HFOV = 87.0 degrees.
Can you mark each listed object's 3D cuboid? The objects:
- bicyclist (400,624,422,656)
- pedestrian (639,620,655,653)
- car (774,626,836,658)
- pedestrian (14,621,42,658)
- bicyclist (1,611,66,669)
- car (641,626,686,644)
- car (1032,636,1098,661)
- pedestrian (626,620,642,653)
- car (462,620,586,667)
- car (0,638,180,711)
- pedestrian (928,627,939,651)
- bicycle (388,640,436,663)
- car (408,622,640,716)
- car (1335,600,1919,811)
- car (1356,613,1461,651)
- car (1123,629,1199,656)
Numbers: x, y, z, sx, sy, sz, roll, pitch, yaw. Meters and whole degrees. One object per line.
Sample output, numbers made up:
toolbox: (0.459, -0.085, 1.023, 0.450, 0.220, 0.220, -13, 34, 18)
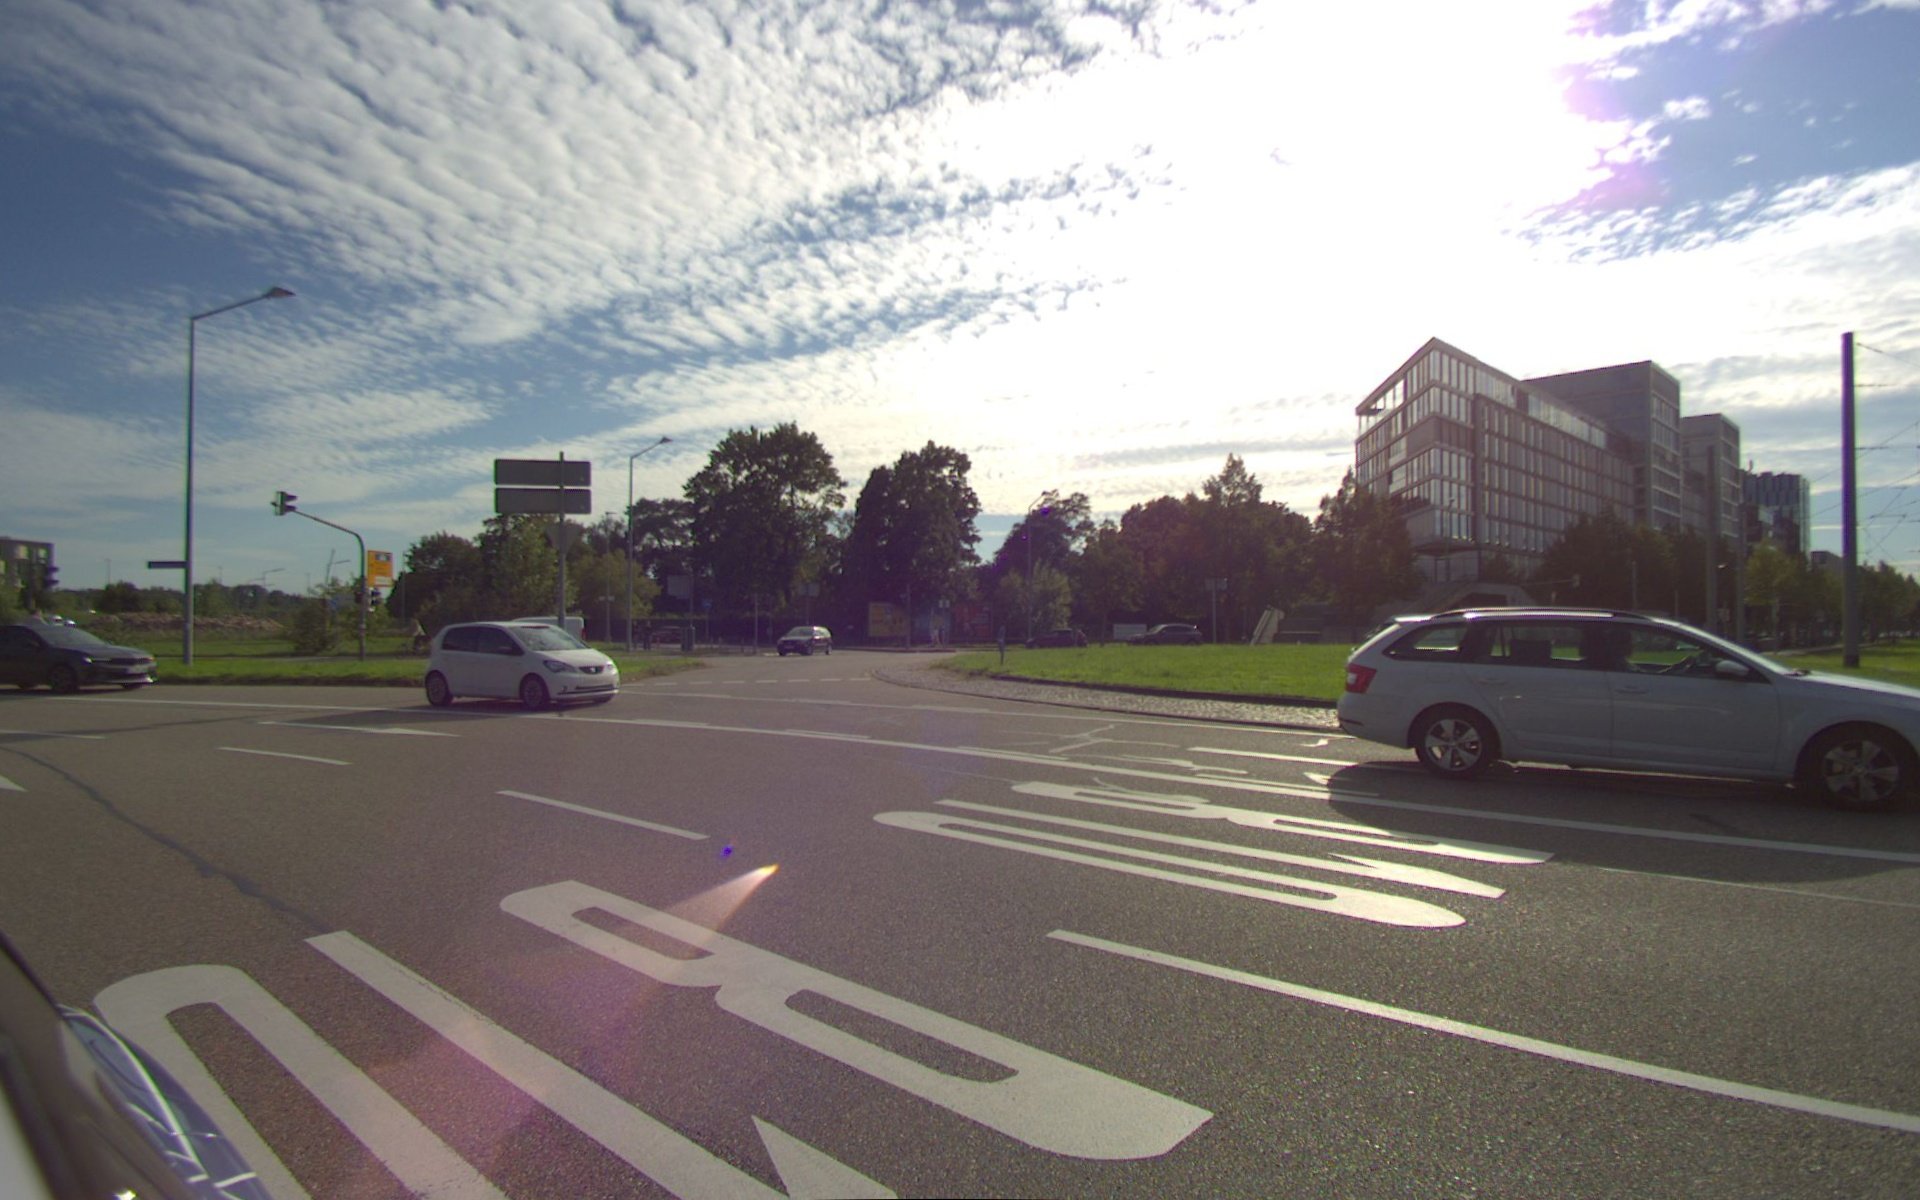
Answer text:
bicyclist: (-24.759, 1.799, 45.639, 0.610, 1.456, 0.690, -1, -3, 36)
pedestrian: (-19.024, 2.197, 61.556, 0.851, 1.930, 0.900, 0, 1, -22)
car: (-7.631, 2.128, 50.119, 1.669, 1.513, 3.976, -1, -4, 14)
pedestrian: (-41.870, 1.781, 45.471, 0.648, 1.642, 0.628, 0, 0, 0)
bicyclist: (-25.705, 1.099, 28.099, 0.984, 1.568, 0.865, 0, -2, 3)
car: (-25.259, 2.984, 86.210, 3.994, 1.431, 1.746, 0, -1, 38)
car: (6.617, 3.094, 63.681, 3.953, 1.513, 1.679, -1, -4, 12)
pedestrian: (-19.672, 2.201, 60.994, 0.851, 1.930, 0.900, 0, 1, -22)
car: (-17.766, 1.799, 41.322, 4.483, 1.839, 1.691, 2, -4, -29)
car: (-19.967, 1.606, 22.264, 4.391, 1.431, 1.821, 0, 0, 5)
pedestrian: (-1.819, 2.658, 69.103, 0.505, 1.637, 0.541, -1, -2, 37)
bicycle: (-24.708, 2.331, 45.686, 0.610, 0.996, 1.816, -1, -2, 35)
car: (-7.628, 1.168, 17.735, 3.637, 1.475, 1.753, -2, -1, 24)
car: (5.834, 0.753, 8.645, 4.627, 1.456, 1.835, -1, -1, 35)
car: (28.165, 2.045, 63.597, 5.922, 2.281, 2.071, 1, -4, -15)
car: (11.718, 2.488, 59.078, 3.927, 1.513, 1.690, 1, -4, -15)
